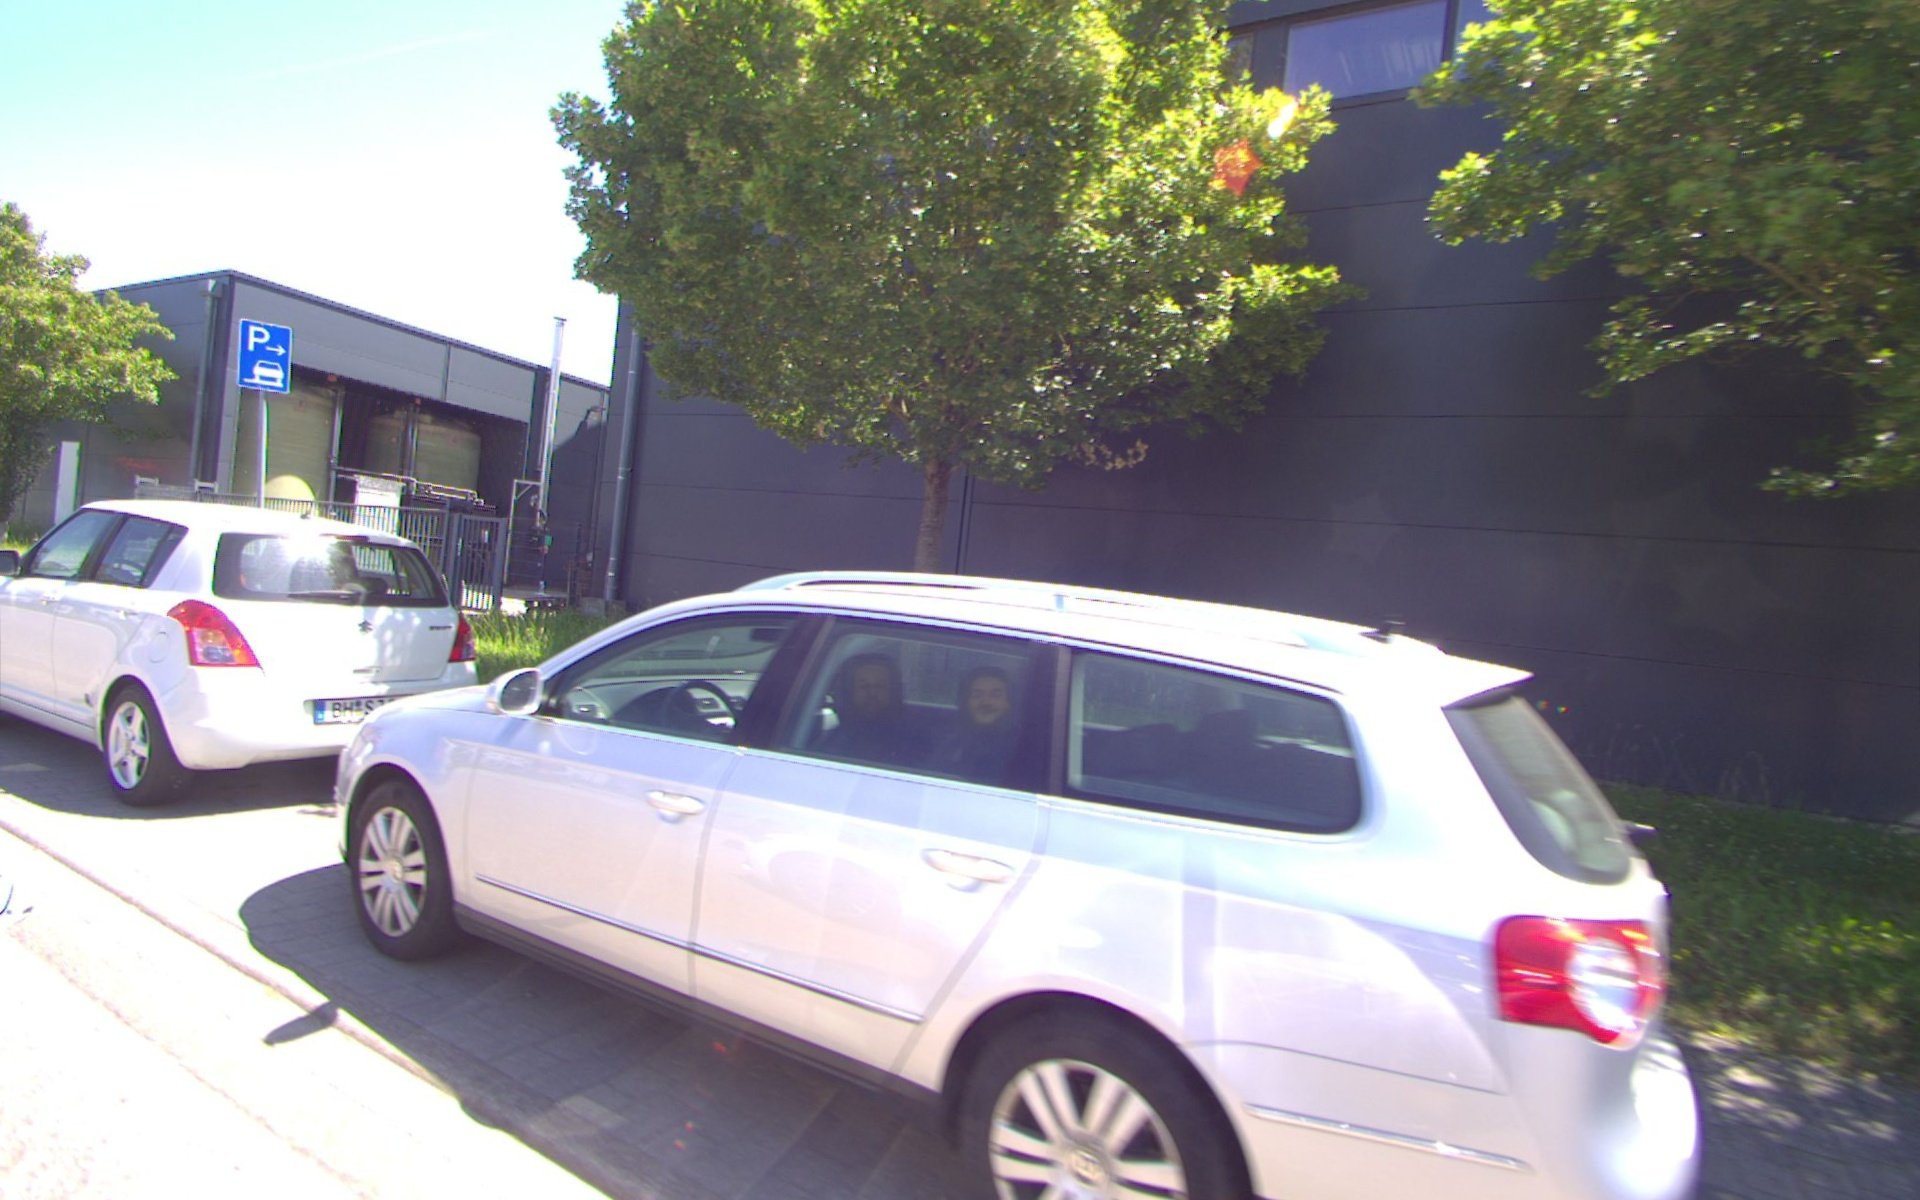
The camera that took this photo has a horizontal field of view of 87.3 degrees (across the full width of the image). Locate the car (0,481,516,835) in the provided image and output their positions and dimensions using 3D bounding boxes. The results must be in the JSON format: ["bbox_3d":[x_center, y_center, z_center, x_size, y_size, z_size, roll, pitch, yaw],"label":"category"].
[{"bbox_3d":[-4.699,0.168,6.179,3.681,1.488,1.638,7,2,29],"label":"car"}]

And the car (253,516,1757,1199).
[{"bbox_3d":[-0.321,0.721,3.428,4.431,1.582,1.750,6,1,32],"label":"car"}]
